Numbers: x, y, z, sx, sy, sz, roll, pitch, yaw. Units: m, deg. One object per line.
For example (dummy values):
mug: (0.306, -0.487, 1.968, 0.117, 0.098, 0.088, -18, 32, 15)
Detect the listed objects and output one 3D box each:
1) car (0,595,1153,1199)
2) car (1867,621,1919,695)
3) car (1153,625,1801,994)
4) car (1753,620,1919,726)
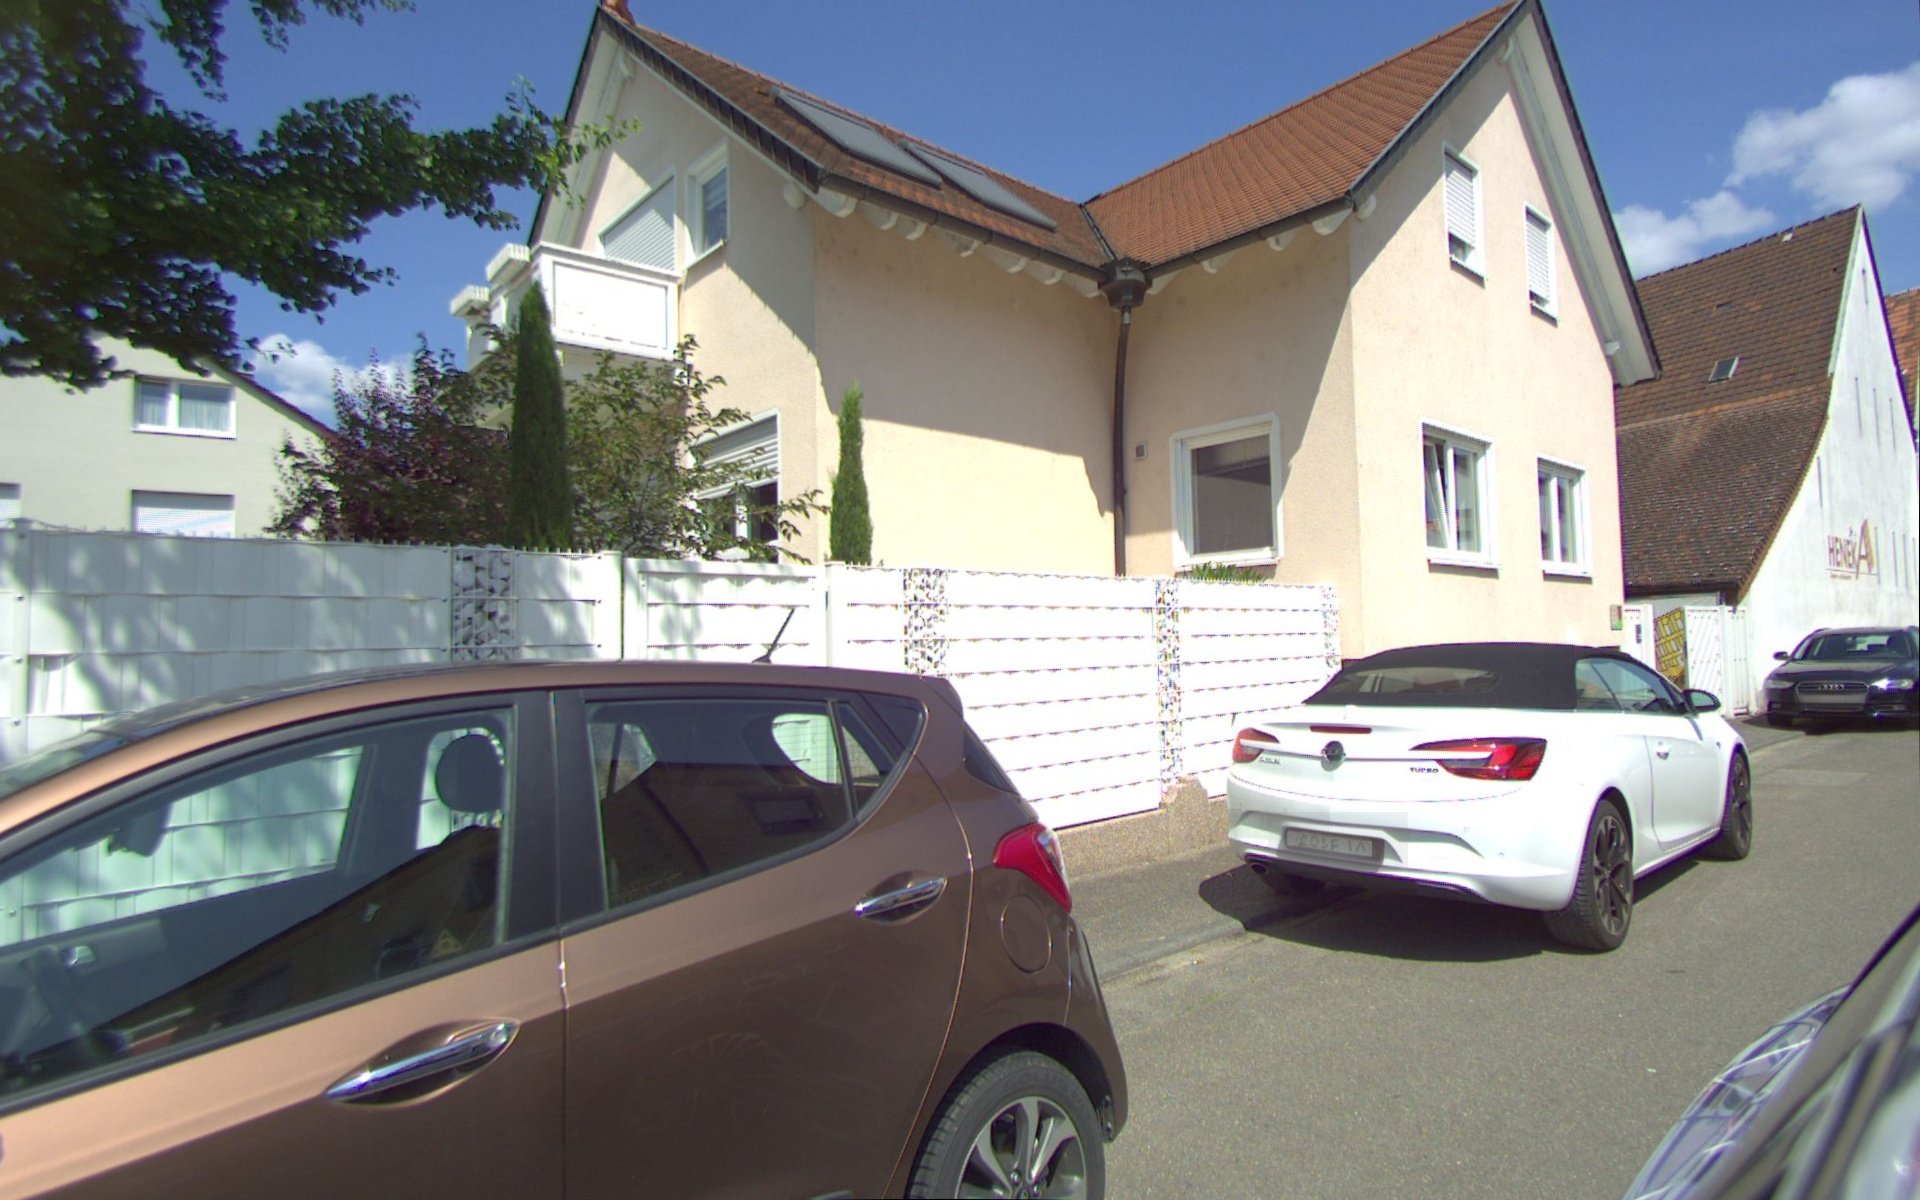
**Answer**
car: (-1.651, 0.858, 1.784, 3.963, 1.553, 1.714, 0, -7, -40)
car: (20.106, 1.104, 20.386, 4.332, 1.383, 1.900, 0, -3, -37)
car: (3.476, 0.933, 6.356, 4.652, 1.447, 1.898, 1, -3, -40)
car: (13.997, 1.023, 15.467, 4.651, 1.383, 1.899, 0, -3, -39)
